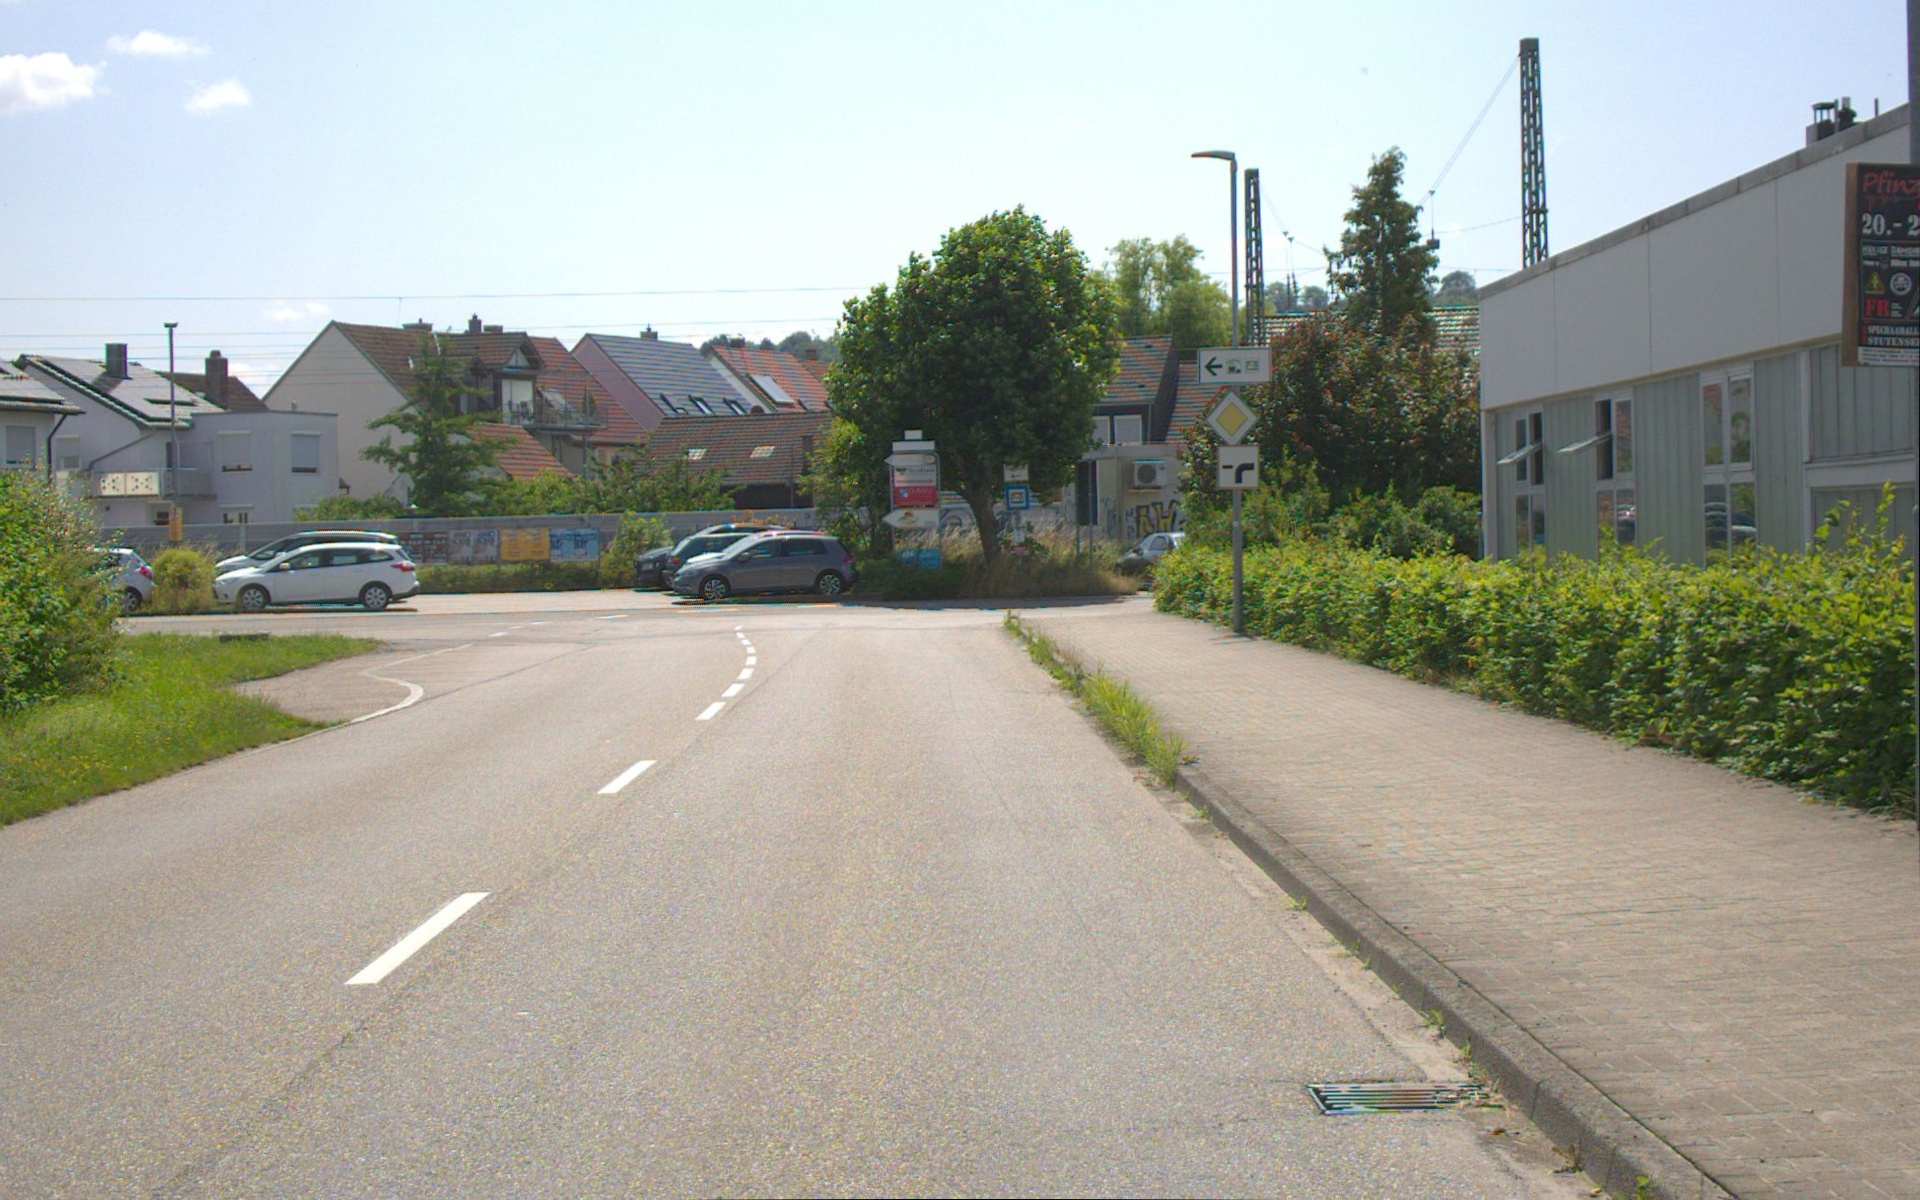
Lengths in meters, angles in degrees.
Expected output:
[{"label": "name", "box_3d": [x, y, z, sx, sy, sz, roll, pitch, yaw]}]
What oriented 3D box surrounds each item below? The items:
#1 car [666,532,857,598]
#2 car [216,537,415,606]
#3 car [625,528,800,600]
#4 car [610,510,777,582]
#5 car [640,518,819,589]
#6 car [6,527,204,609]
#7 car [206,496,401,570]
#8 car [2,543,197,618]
[{"label": "car", "box_3d": [-4.551, -0.805, 78.515, 4.186, 1.458, 1.665, 0, 1, -9]}, {"label": "car", "box_3d": [-14.351, -0.632, 76.499, 4.281, 1.472, 1.828, 1, 0, -13]}, {"label": "car", "box_3d": [-6.004, -0.887, 83.226, 3.986, 1.652, 2.001, -1, 1, -10]}, {"label": "car", "box_3d": [-6.671, -1.337, 85.936, 3.986, 1.724, 1.771, 1, 0, -10]}, {"label": "car", "box_3d": [-5.436, -1.093, 80.860, 3.986, 1.581, 1.780, -1, 1, -10]}, {"label": "car", "box_3d": [-19.349, -0.734, 77.787, 4.159, 1.633, 1.956, -3, 2, -18]}, {"label": "car", "box_3d": [-15.438, -1.596, 81.063, 4.451, 1.685, 2.001, -1, 2, -9]}, {"label": "car", "box_3d": [-18.939, -0.446, 75.611, 3.999, 1.556, 1.823, -1, 1, -19]}]
